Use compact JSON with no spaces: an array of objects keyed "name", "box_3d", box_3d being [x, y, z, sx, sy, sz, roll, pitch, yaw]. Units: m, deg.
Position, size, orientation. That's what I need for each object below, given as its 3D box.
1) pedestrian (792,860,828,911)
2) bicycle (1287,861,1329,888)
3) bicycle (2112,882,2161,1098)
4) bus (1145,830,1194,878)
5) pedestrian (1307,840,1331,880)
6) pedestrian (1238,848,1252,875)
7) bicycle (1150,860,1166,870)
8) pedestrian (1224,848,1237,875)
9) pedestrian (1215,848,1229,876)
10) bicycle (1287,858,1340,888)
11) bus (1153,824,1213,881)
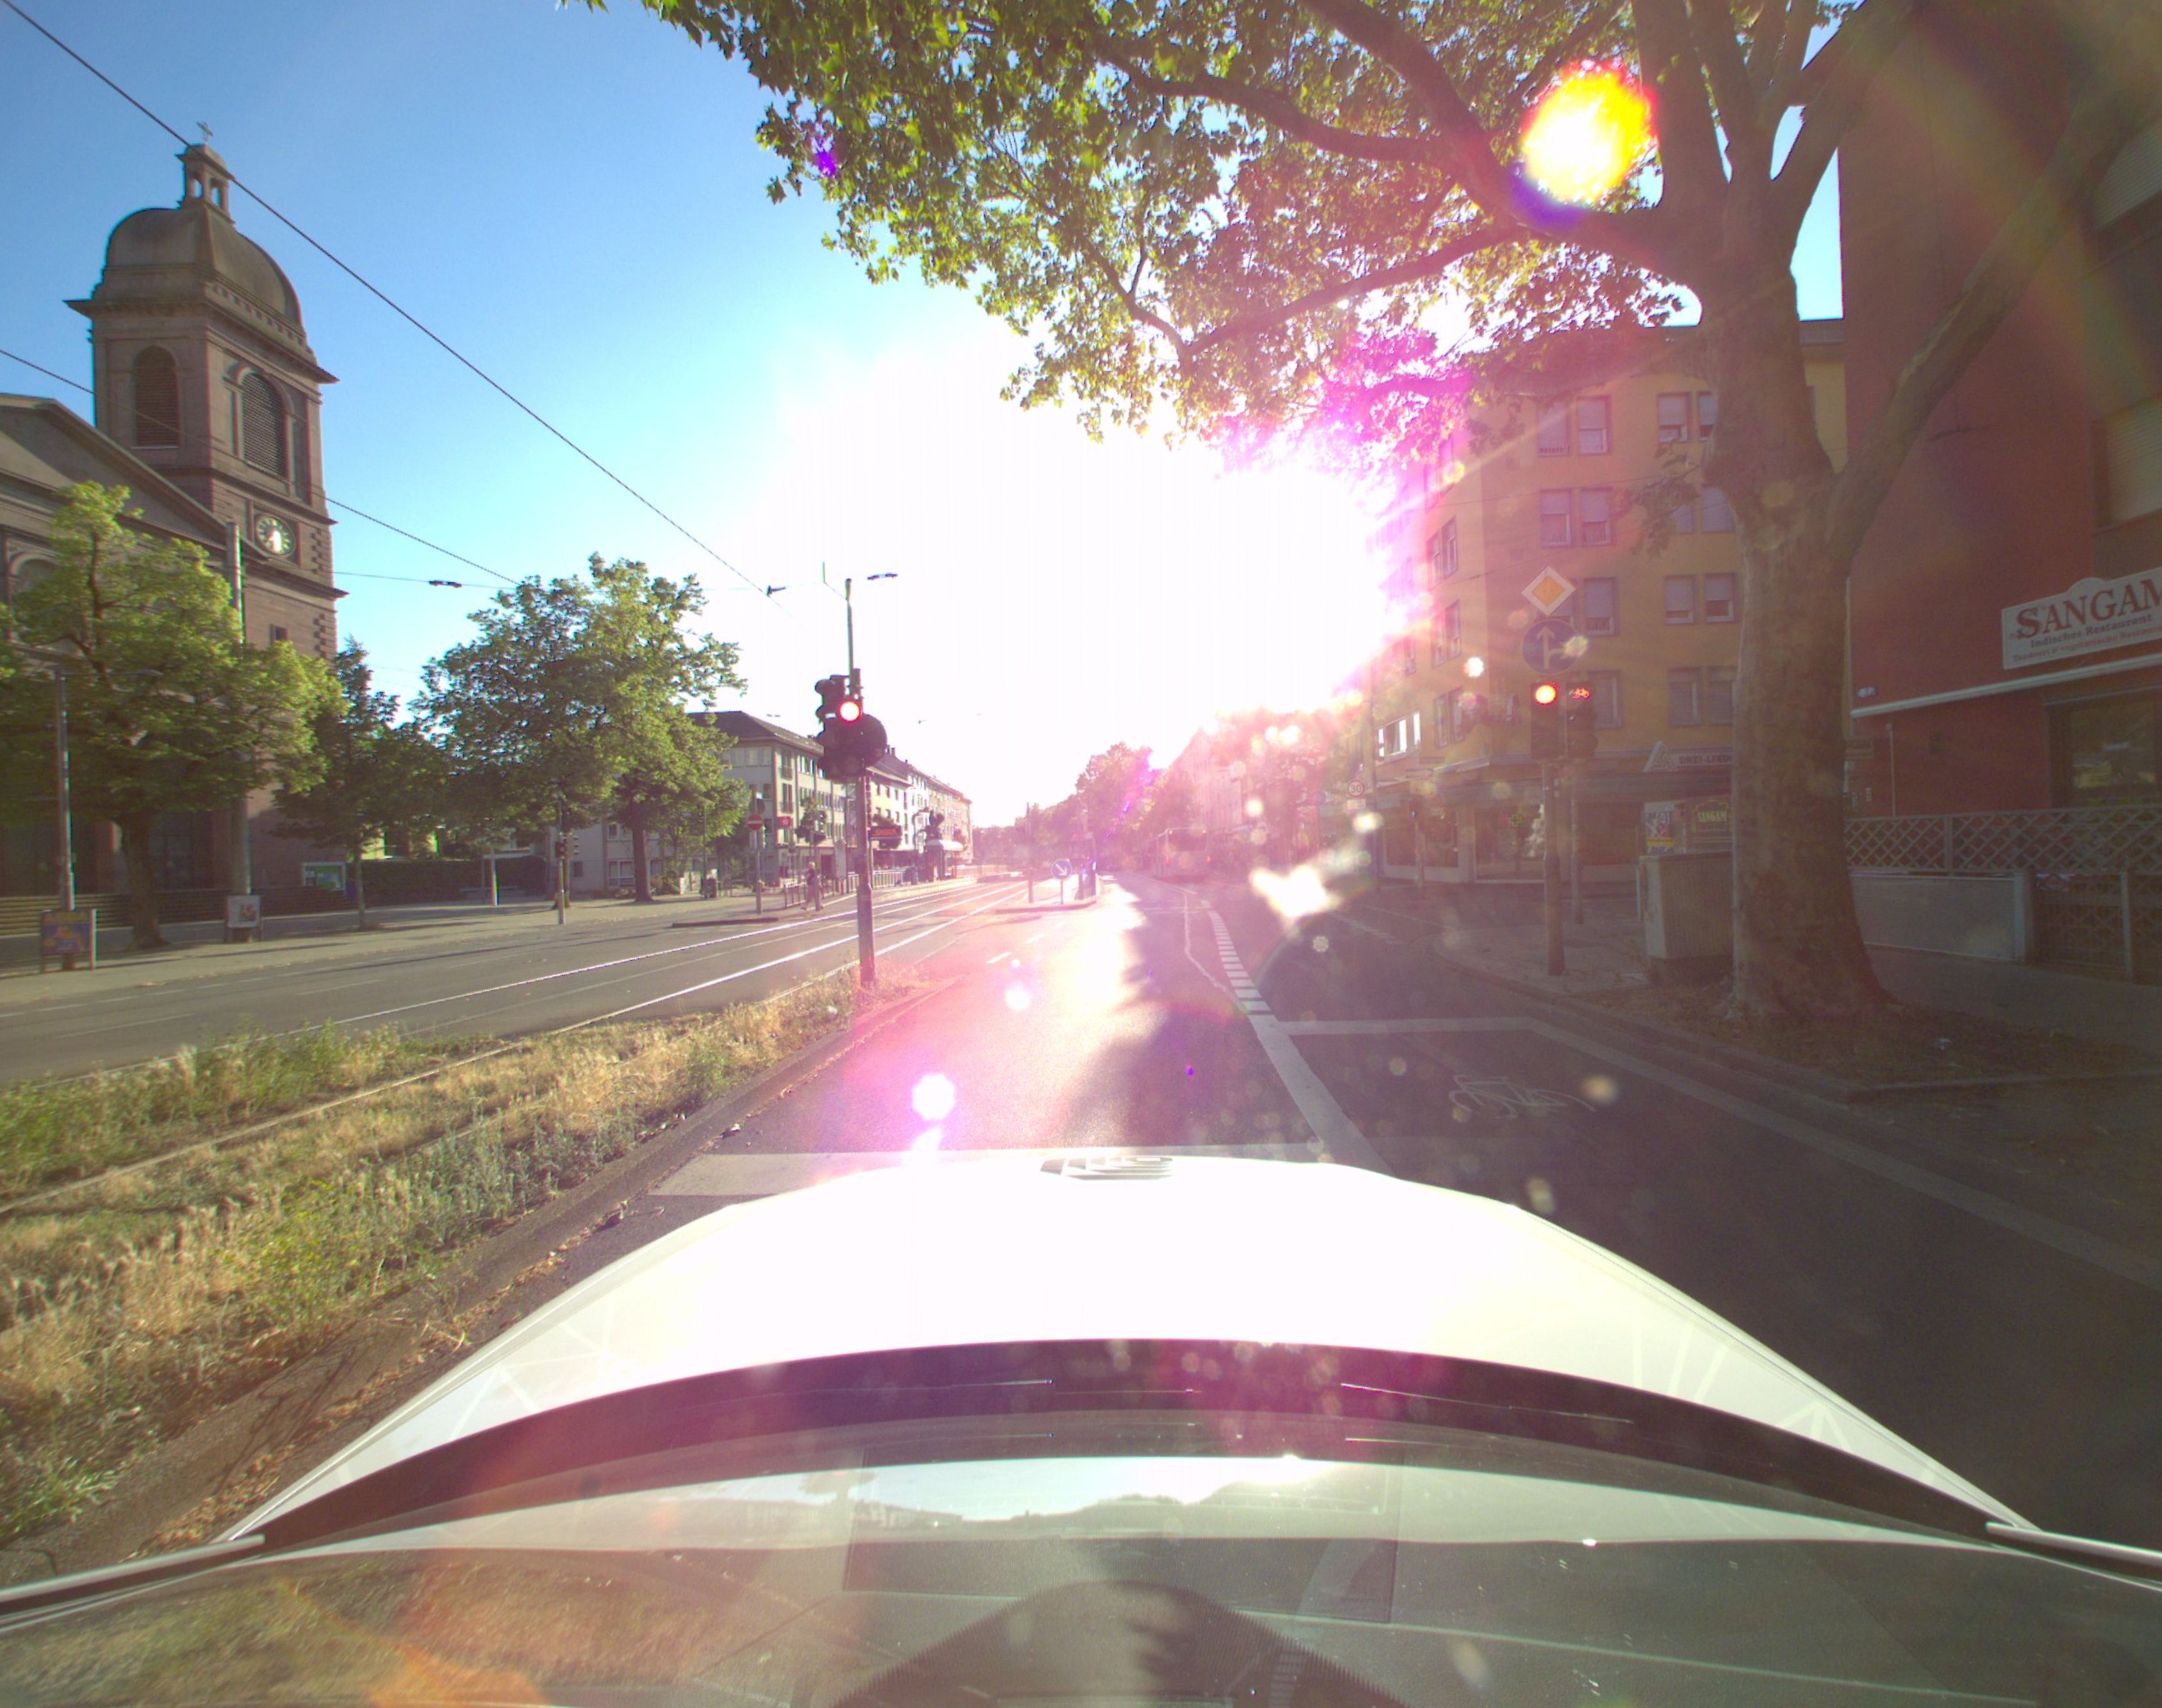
[{"name":"pedestrian","box_3d":[-9.708,1.116,29.240,0.915,1.760,0.833,-2,-1,2]},{"name":"bicycle","box_3d":[8.877,0.791,31.820,1.479,1.008,0.454,-2,0,-2]},{"name":"bicycle","box_3d":[5.665,0.752,3.635,0.613,1.111,1.812,-3,1,28]},{"name":"bus","box_3d":[6.318,0.027,59.382,2.687,3.118,9.072,-1,0,1]},{"name":"pedestrian","box_3d":[11.008,0.288,37.706,0.741,1.780,0.895,-4,-1,1]},{"name":"pedestrian","box_3d":[10.589,0.469,52.622,0.721,1.723,0.766,-2,-1,1]},{"name":"bicycle","box_3d":[9.537,1.376,100.896,1.879,1.077,0.755,-6,-1,4]},{"name":"pedestrian","box_3d":[10.069,0.528,54.846,0.721,1.779,0.766,-2,-1,1]},{"name":"pedestrian","box_3d":[9.103,0.520,52.682,0.721,1.807,0.766,-2,-1,1]},{"name":"bicycle","box_3d":[8.875,0.706,31.144,1.793,1.008,0.540,-4,-1,-3]},{"name":"bus","box_3d":[6.100,-0.034,50.193,2.687,3.118,9.383,-1,0,1]}]
